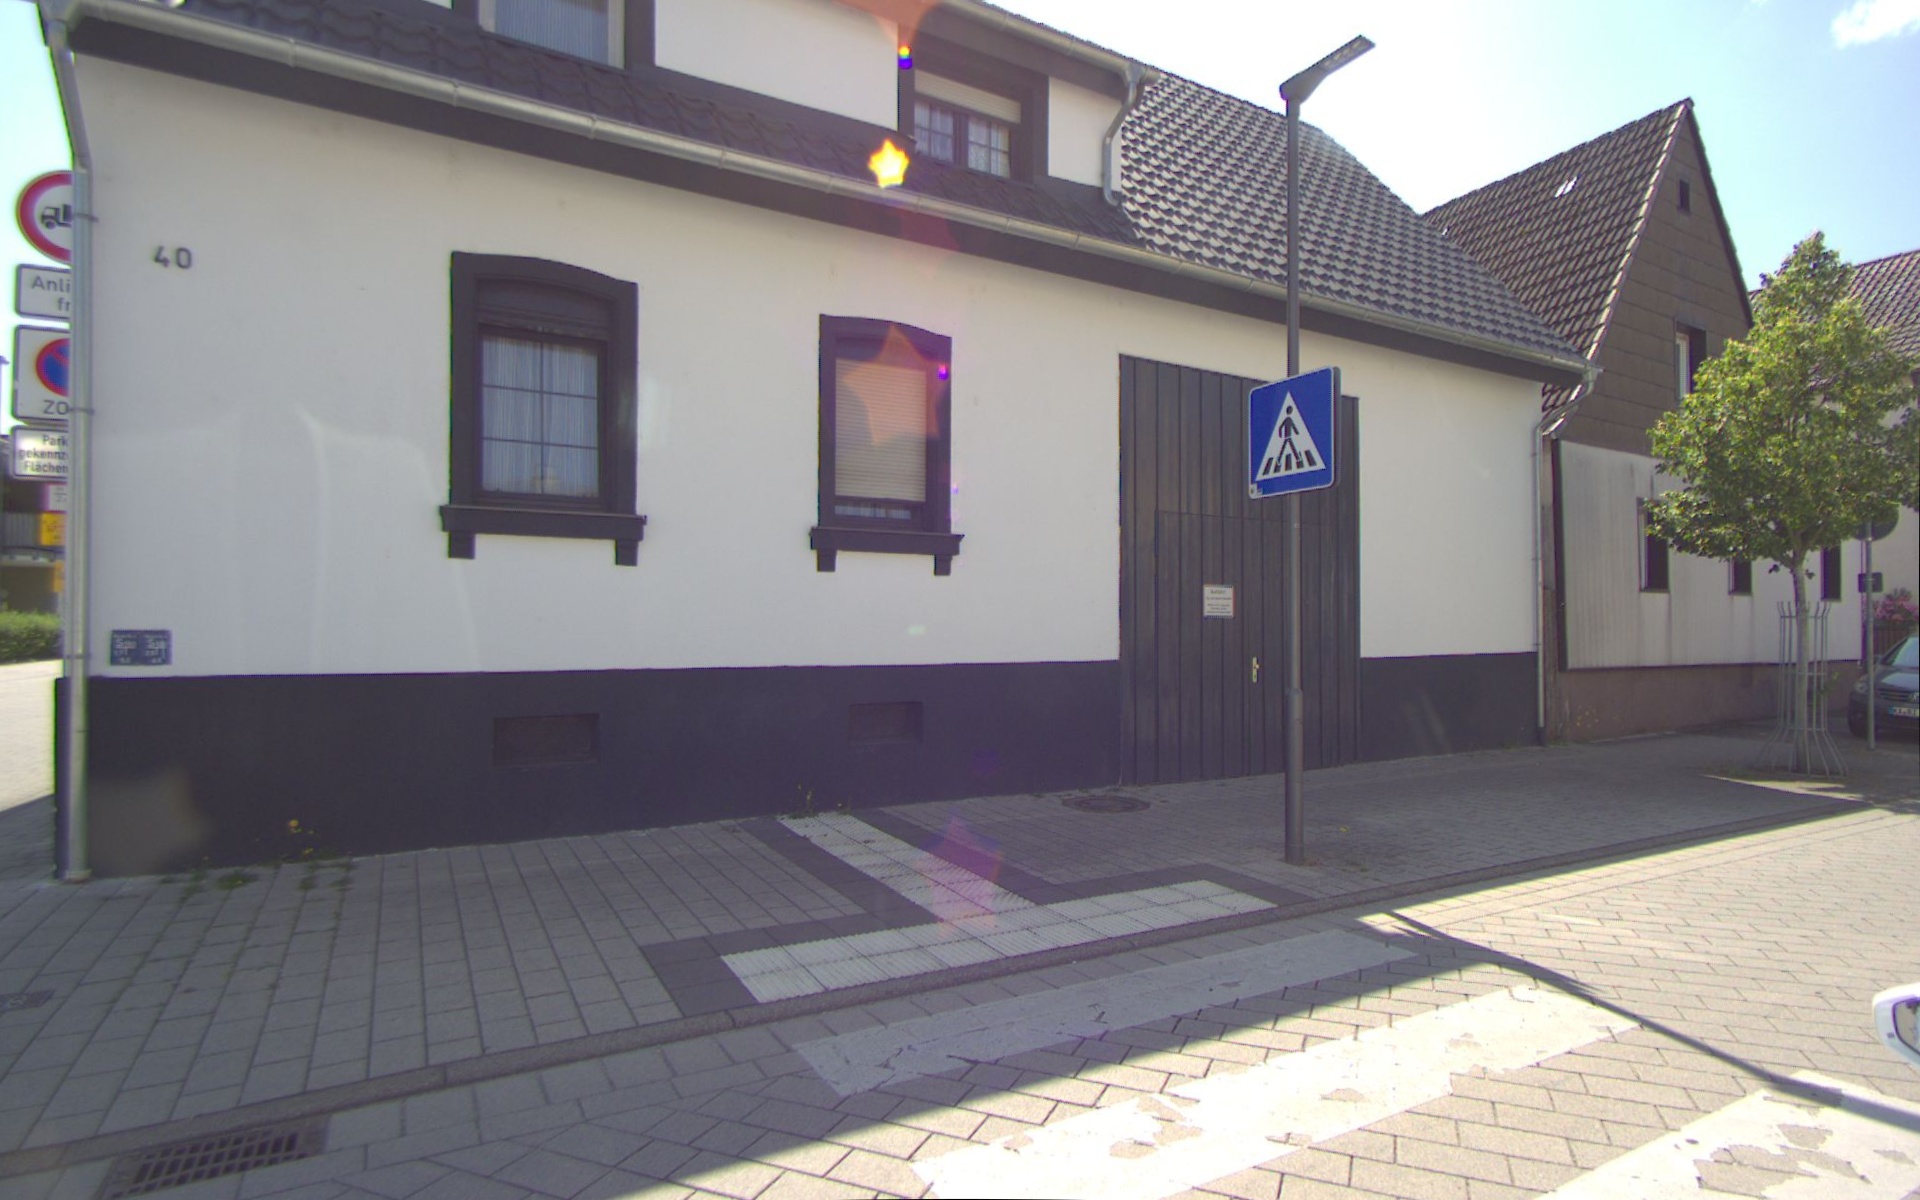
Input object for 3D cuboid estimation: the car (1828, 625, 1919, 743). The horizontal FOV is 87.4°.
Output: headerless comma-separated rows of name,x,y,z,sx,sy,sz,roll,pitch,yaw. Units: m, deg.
car,14.422,1.158,14.489,3.954,1.550,1.738,1,0,-31
